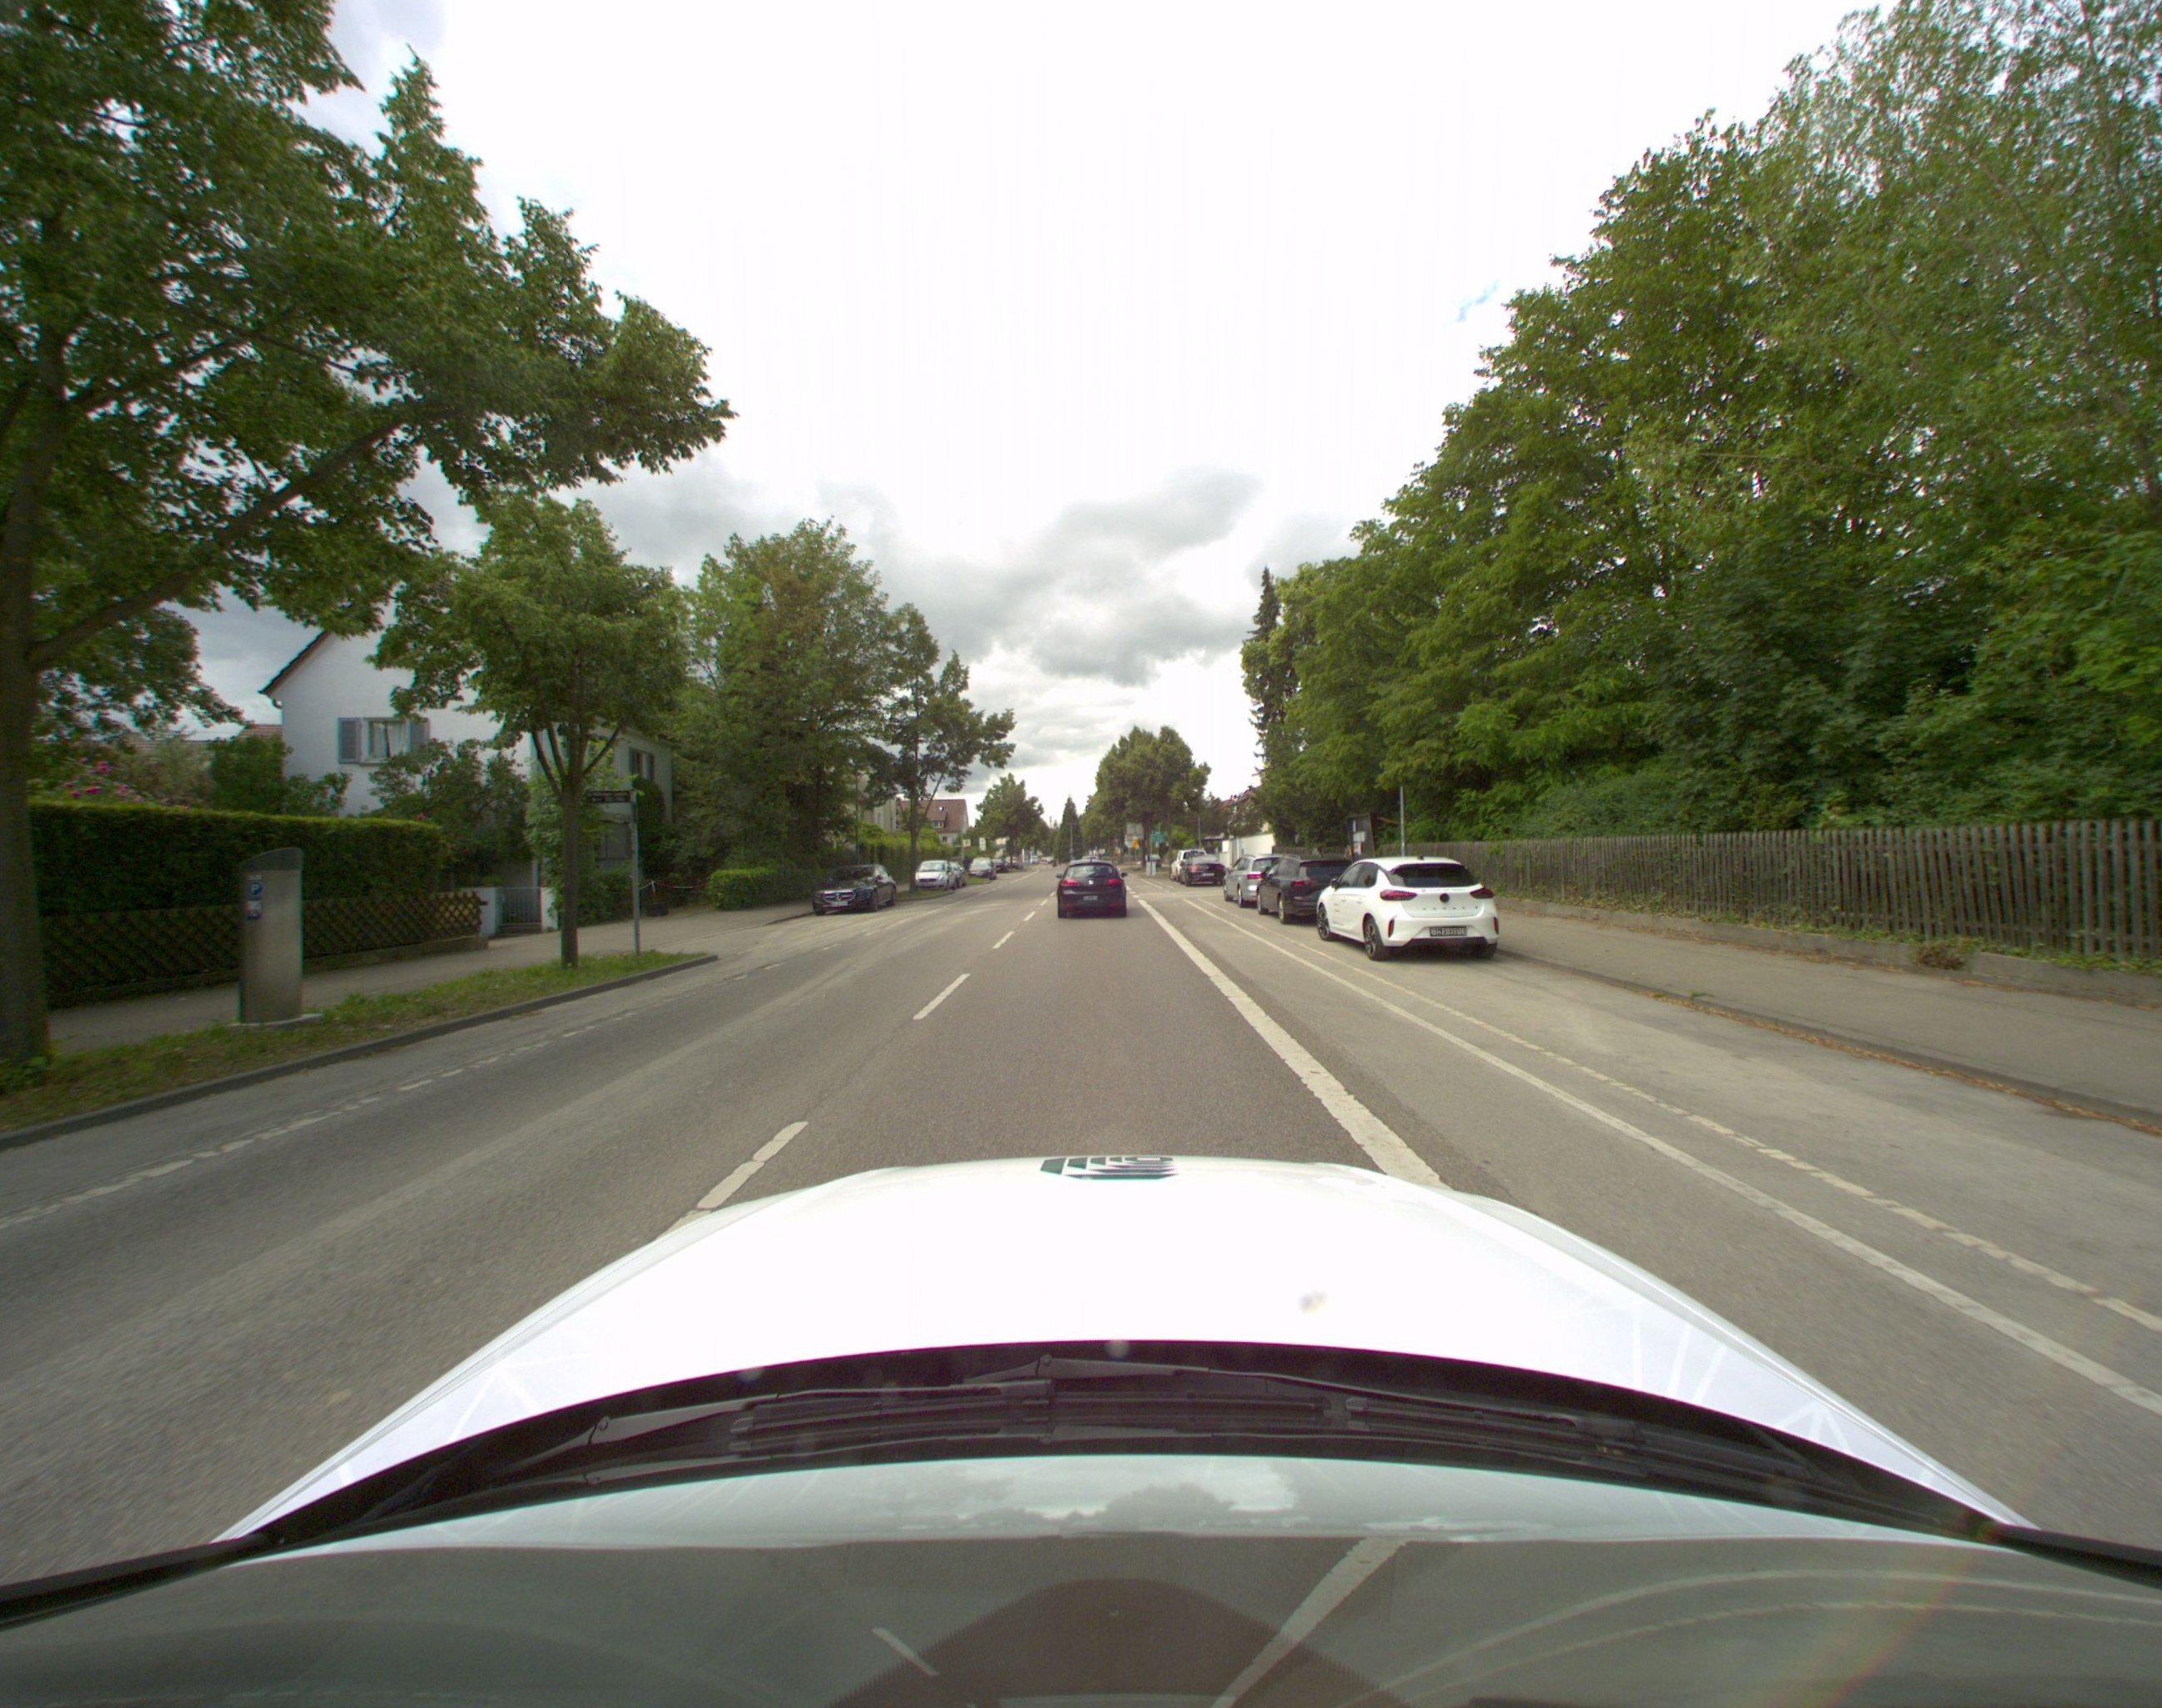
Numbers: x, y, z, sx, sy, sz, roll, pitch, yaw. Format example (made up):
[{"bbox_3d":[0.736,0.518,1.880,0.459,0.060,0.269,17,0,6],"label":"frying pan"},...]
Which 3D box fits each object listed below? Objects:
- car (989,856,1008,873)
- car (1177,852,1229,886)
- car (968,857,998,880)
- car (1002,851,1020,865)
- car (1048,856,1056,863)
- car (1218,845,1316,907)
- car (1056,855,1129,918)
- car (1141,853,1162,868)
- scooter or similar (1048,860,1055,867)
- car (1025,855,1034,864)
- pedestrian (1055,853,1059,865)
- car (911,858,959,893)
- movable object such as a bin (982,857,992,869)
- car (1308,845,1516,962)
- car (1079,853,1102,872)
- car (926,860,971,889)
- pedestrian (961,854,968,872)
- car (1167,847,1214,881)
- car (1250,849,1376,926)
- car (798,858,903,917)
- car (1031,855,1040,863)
[{"bbox_3d":[-8.879,1.143,88.002,1.720,1.725,4.561,-1,0,-2],"label":"car"},{"bbox_3d":[5.531,0.641,37.349,1.856,1.417,4.605,-1,0,2],"label":"car"},{"bbox_3d":[-7.070,1.051,59.104,1.672,1.552,4.269,-2,0,-2],"label":"car"},{"bbox_3d":[-8.926,0.506,104.203,1.854,1.653,4.294,-1,0,0],"label":"car"},{"bbox_3d":[-6.961,1.374,194.231,1.563,1.634,3.621,-2,0,0],"label":"car"},{"bbox_3d":[5.280,0.601,23.778,1.855,1.611,4.687,0,-1,1],"label":"car"},{"bbox_3d":[0.353,0.787,21.568,1.725,1.486,4.002,-1,0,2],"label":"car"},{"bbox_3d":[6.938,0.655,80.299,1.606,1.377,4.386,-2,-1,0],"label":"car"},{"bbox_3d":[-4.302,1.410,119.411,0.958,1.095,0.409,0,-1,22],"label":"scooter or similar"},{"bbox_3d":[-12.542,1.308,199.996,2.025,1.970,3.996,-2,0,-3],"label":"car"},{"bbox_3d":[-3.501,0.758,119.307,0.510,1.669,0.485,-2,0,18],"label":"pedestrian"},{"bbox_3d":[-7.353,1.044,41.299,1.713,1.613,3.909,-2,0,-1],"label":"car"},{"bbox_3d":[-12.386,1.196,107.039,1.203,1.651,0.997,1,-1,-3],"label":"movable object such as a bin"},{"bbox_3d":[4.958,0.683,12.848,1.761,1.510,4.033,-1,-1,2],"label":"car"},{"bbox_3d":[0.853,0.755,73.980,1.987,1.613,4.000,-1,0,1],"label":"car"},{"bbox_3d":[-7.551,1.126,46.879,1.989,1.485,4.885,-3,0,-3],"label":"car"},{"bbox_3d":[-11.690,0.908,81.740,0.502,1.806,0.671,-2,0,-1],"label":"pedestrian"},{"bbox_3d":[5.797,0.532,43.463,1.894,1.642,4.115,-2,-1,0],"label":"car"},{"bbox_3d":[5.091,0.651,18.485,1.695,1.510,4.539,0,0,2],"label":"car"},{"bbox_3d":[-7.456,1.018,26.899,2.089,1.647,5.035,-3,0,-2],"label":"car"},{"bbox_3d":[-10.272,1.101,182.422,1.793,1.601,3.998,-2,0,-1],"label":"car"}]
